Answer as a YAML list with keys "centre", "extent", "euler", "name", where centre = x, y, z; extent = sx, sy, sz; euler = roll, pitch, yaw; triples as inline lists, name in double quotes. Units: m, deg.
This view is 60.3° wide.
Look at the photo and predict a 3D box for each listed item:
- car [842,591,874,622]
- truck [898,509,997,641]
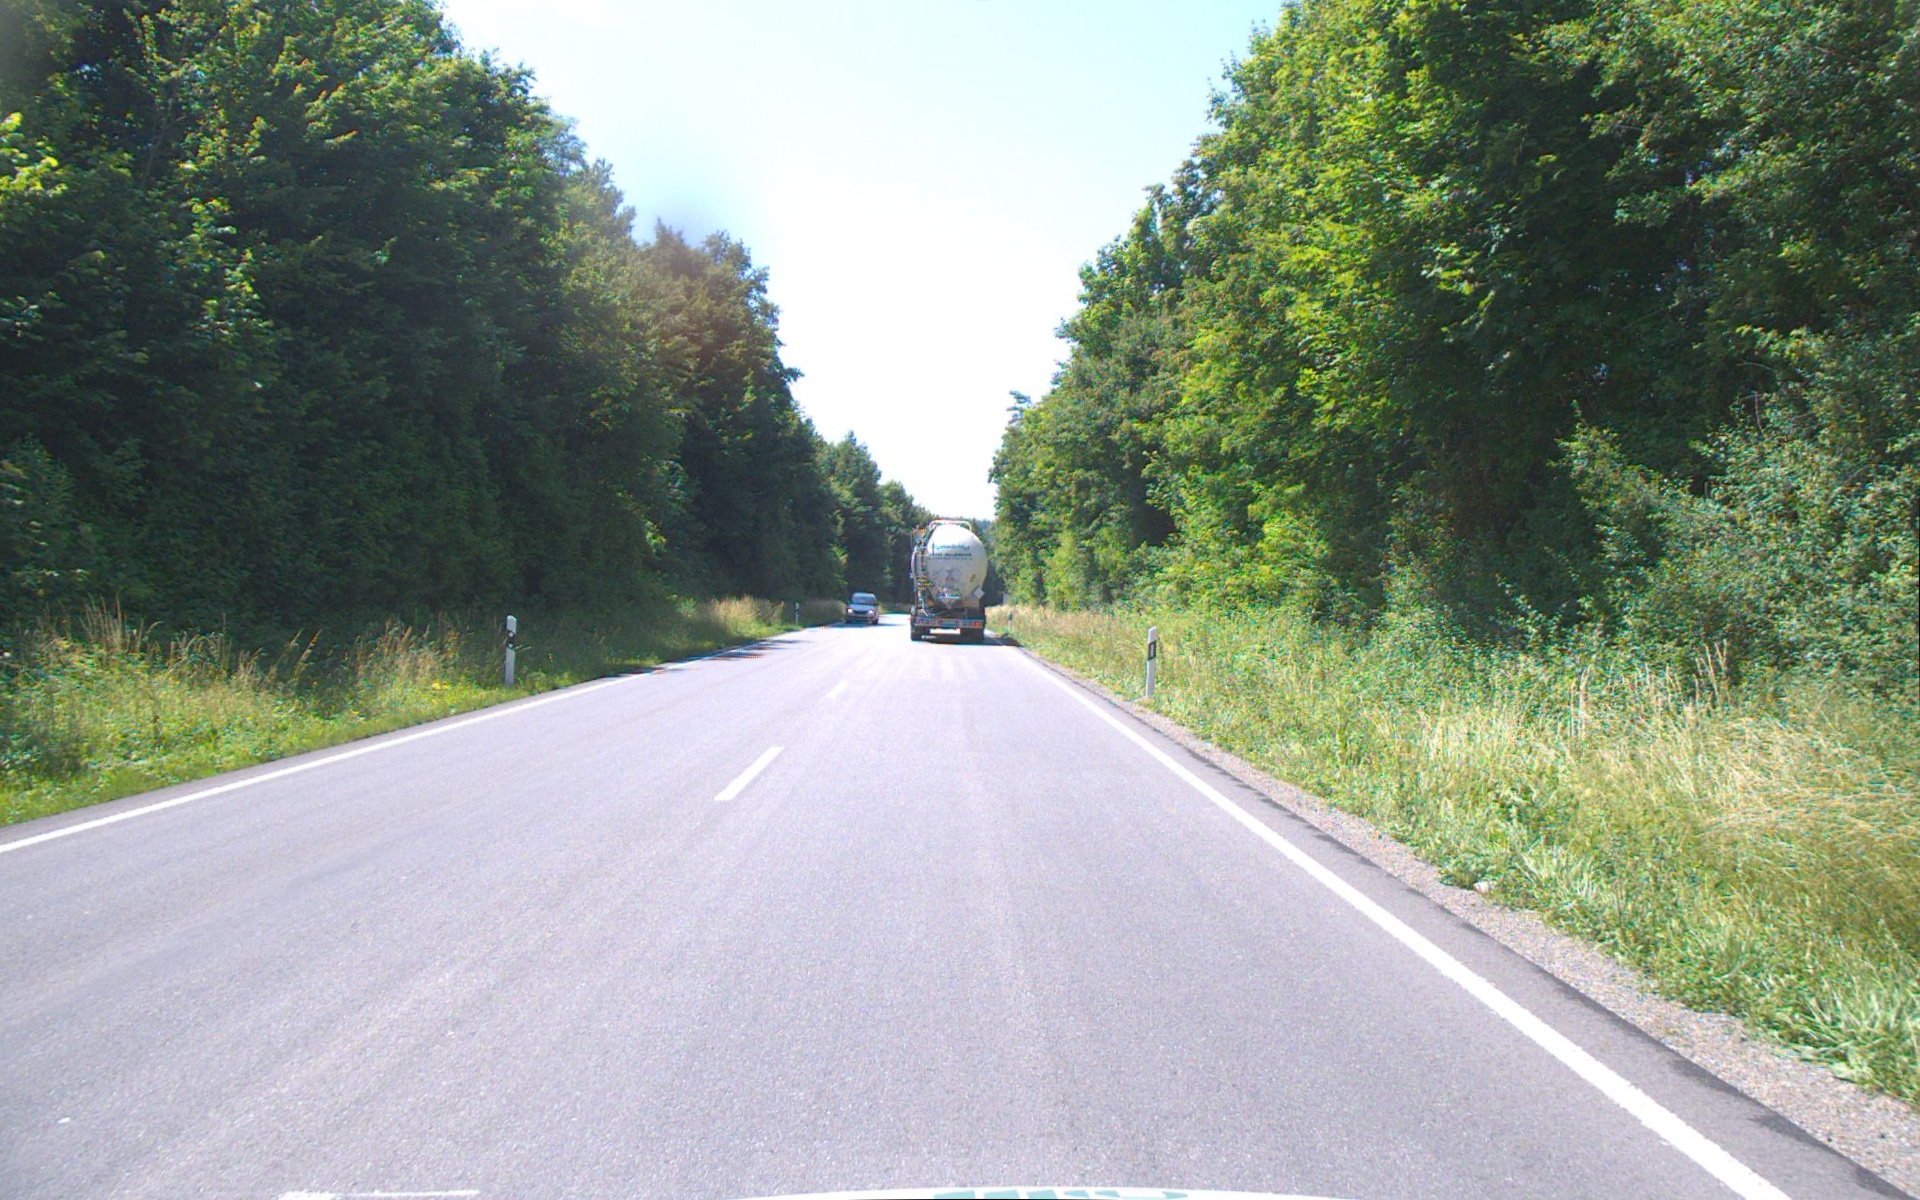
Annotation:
- centre: [-5.494, 0.337, 89.308]
  extent: [1.481, 1.620, 3.793]
  euler: [1, 0, 0]
  name: "car"
- centre: [-0.651, -0.769, 60.585]
  extent: [2.988, 4.068, 15.630]
  euler: [3, 0, -2]
  name: "truck"
